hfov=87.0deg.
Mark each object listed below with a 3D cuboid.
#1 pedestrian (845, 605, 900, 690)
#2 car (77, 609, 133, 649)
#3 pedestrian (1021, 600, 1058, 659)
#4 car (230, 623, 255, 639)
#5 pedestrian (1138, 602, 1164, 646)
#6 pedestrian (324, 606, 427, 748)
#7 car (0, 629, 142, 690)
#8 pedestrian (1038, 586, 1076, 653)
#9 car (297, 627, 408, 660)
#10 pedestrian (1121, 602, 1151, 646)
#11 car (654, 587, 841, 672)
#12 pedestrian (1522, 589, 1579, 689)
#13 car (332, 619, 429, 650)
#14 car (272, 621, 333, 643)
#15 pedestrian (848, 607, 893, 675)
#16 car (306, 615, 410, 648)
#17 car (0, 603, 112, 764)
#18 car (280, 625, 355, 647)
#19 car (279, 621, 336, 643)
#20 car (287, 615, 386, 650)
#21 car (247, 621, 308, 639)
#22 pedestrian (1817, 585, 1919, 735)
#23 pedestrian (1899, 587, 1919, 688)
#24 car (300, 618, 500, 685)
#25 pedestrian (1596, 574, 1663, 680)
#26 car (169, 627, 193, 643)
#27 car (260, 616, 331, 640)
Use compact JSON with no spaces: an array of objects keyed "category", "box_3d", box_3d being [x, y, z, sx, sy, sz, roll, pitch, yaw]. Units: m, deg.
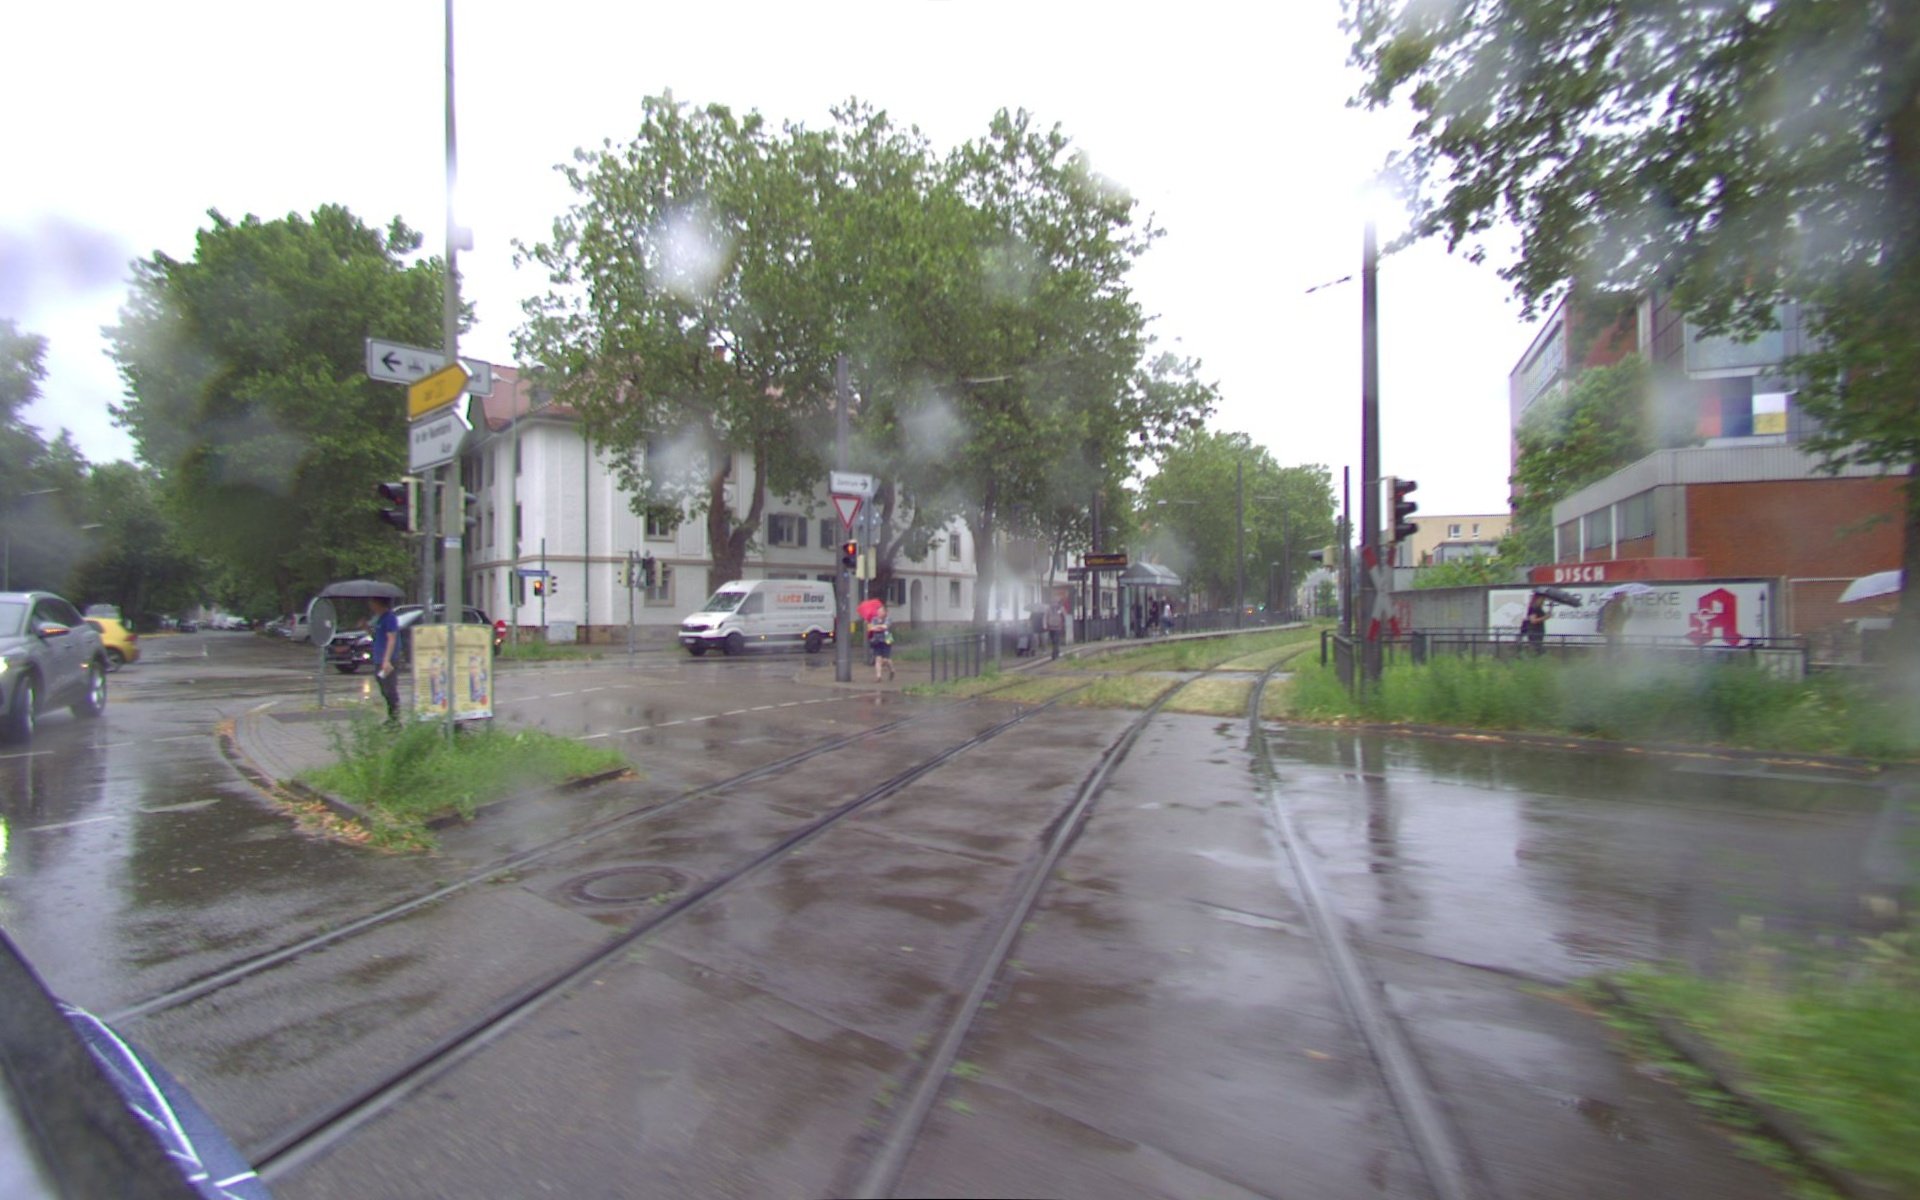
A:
[{"category":"pedestrian","box_3d":[-1.811,0.970,20.955,0.855,1.701,0.842,-1,-2,24]},{"category":"car","box_3d":[-56.538,1.931,67.042,2.363,2.494,5.705,1,-2,-36]},{"category":"pedestrian","box_3d":[2.322,0.868,29.600,0.855,1.701,0.842,-1,-2,24]},{"category":"car","box_3d":[-84.649,3.710,119.386,1.969,1.820,4.005,0,-1,-41]},{"category":"pedestrian","box_3d":[8.133,1.019,43.093,0.847,1.839,0.850,0,-2,-4]},{"category":"pedestrian","box_3d":[-6.874,0.881,11.915,0.641,1.593,0.853,-2,-2,36]},{"category":"car","box_3d":[-23.123,1.465,25.237,1.998,1.378,3.946,-2,-1,40]},{"category":"pedestrian","box_3d":[2.710,0.557,28.239,0.855,1.846,0.842,-1,-3,24]},{"category":"car","box_3d":[-31.122,2.215,51.907,4.665,1.635,1.934,1,-2,-39]},{"category":"pedestrian","box_3d":[7.369,0.998,42.373,0.847,1.800,0.850,1,-3,-40]},{"category":"car","box_3d":[-7.021,0.935,34.275,2.278,2.582,6.436,-2,-1,34]},{"category":"pedestrian","box_3d":[11.449,0.752,19.652,0.844,1.876,0.948,-1,-2,25]},{"category":"car","box_3d":[-28.703,1.680,50.176,3.937,1.364,1.800,-1,-1,-41]},{"category":"car","box_3d":[-53.295,2.575,82.019,4.044,1.703,1.832,1,-2,-37]},{"category":"pedestrian","box_3d":[-2.306,1.057,26.013,0.844,1.701,0.853,-1,-2,25]},{"category":"car","box_3d":[-32.220,1.703,54.174,4.595,1.703,2.038,1,-2,-37]},{"category":"car","box_3d":[-11.361,0.862,11.478,1.779,1.633,4.150,0,-1,-27]},{"category":"car","box_3d":[-46.617,2.592,73.489,4.455,1.582,2.038,1,-2,-37]},{"category":"car","box_3d":[-51.730,2.539,80.192,3.662,1.703,1.942,1,-2,-36]},{"category":"car","box_3d":[-35.044,1.831,56.929,4.595,1.888,2.038,1,-2,-37]},{"category":"car","box_3d":[-62.954,2.786,93.356,4.595,1.617,2.038,1,-2,-37]},{"category":"pedestrian","box_3d":[12.842,0.799,13.986,0.896,1.979,1.219,0,-1,-24]},{"category":"pedestrian","box_3d":[14.835,0.563,15.182,0.844,1.516,0.822,-1,-2,25]},{"category":"car","box_3d":[-13.160,1.172,24.067,1.840,1.455,3.974,-1,-2,19]},{"category":"pedestrian","box_3d":[12.224,0.497,18.515,0.844,1.876,0.948,-1,-2,25]},{"category":"car","box_3d":[-88.816,4.000,115.373,1.969,1.820,4.357,0,-1,-40]},{"category":"car","box_3d":[-57.350,2.405,87.411,5.006,2.039,2.038,1,-2,-37]}]
